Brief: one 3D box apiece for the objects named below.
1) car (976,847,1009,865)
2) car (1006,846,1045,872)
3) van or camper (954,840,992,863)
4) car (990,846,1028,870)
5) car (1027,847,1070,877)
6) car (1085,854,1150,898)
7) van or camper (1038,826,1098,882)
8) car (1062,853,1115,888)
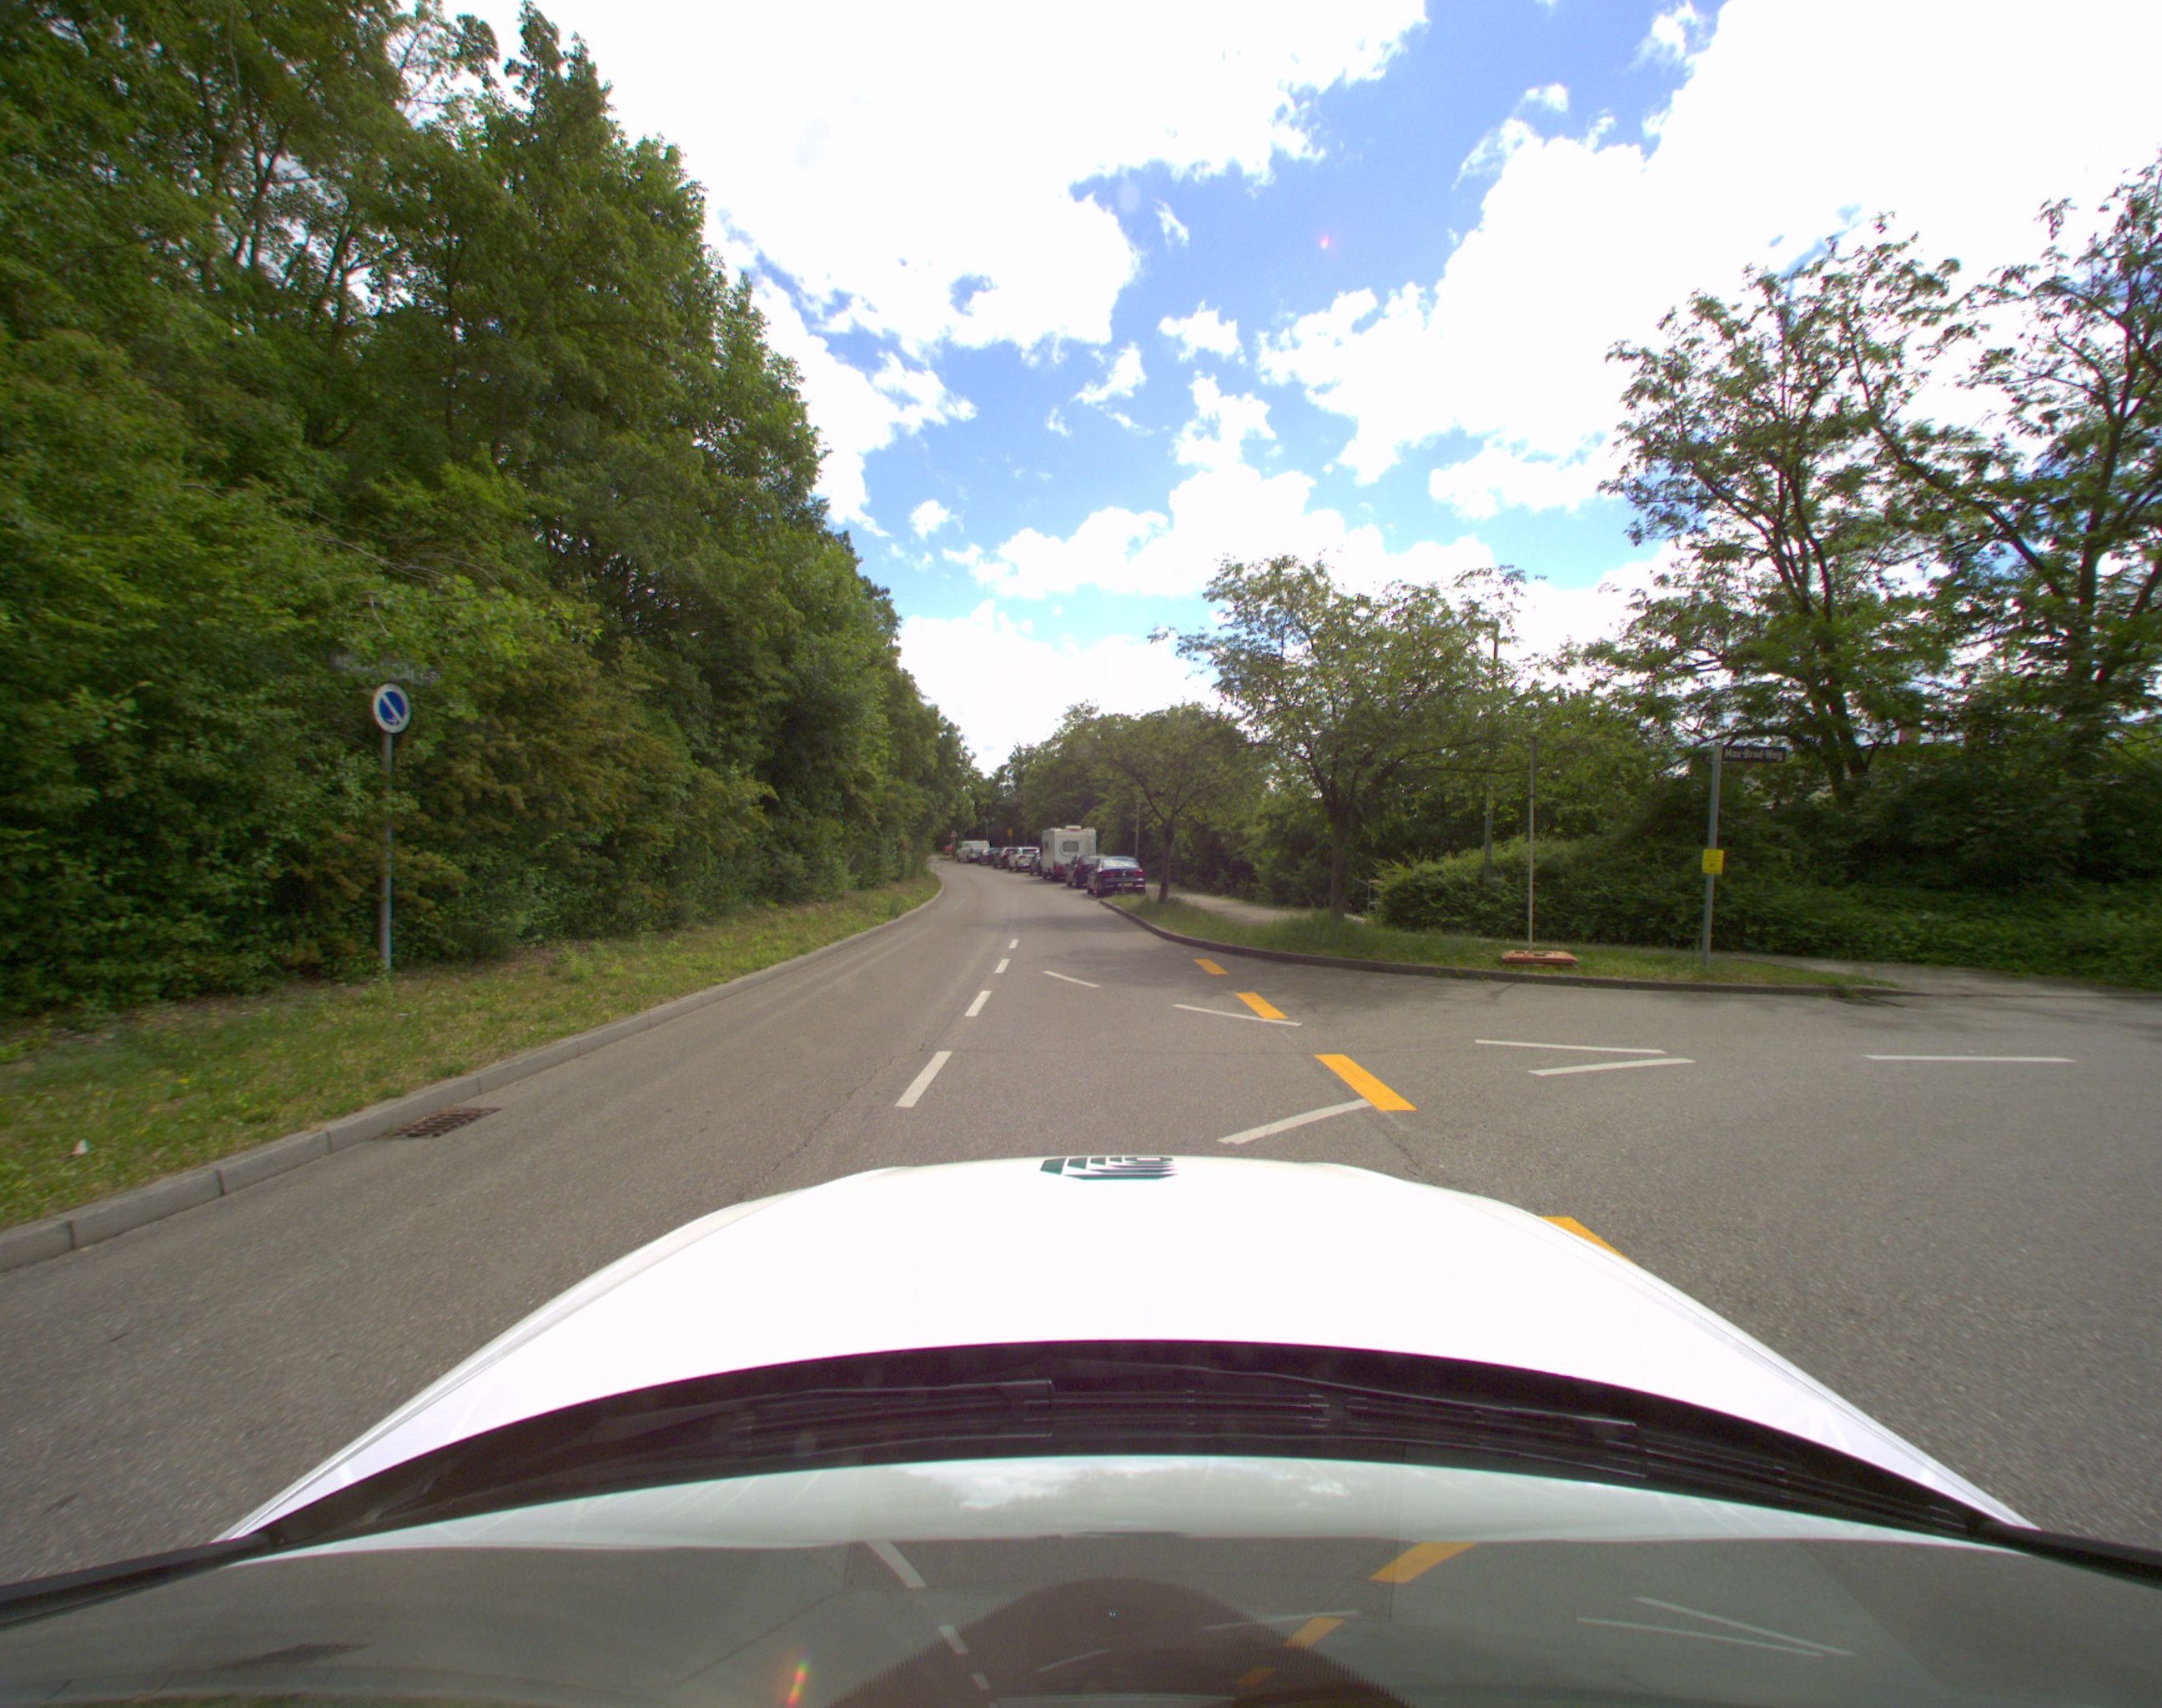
[{"bbox_3d":[-7.607,0.175,69.738,1.804,1.464,3.972,0,1,-21],"label":"car"},{"bbox_3d":[-3.971,0.331,57.674,1.875,1.689,4.557,1,1,-15],"label":"car"},{"bbox_3d":[-10.010,-0.238,75.197,2.003,1.919,5.223,-2,2,-25],"label":"van or camper"},{"bbox_3d":[-5.641,0.251,63.286,1.999,1.626,4.253,-3,2,-17],"label":"car"},{"bbox_3d":[-2.056,0.465,50.835,1.714,1.591,3.980,-7,2,-15],"label":"car"},{"bbox_3d":[1.268,0.752,30.172,1.773,1.434,4.325,-1,0,-6],"label":"car"},{"bbox_3d":[-0.810,-0.026,44.814,2.333,2.869,6.129,1,0,-10],"label":"van or camper"},{"bbox_3d":[0.276,0.741,37.290,1.729,1.519,3.875,-1,-1,-10],"label":"car"}]
